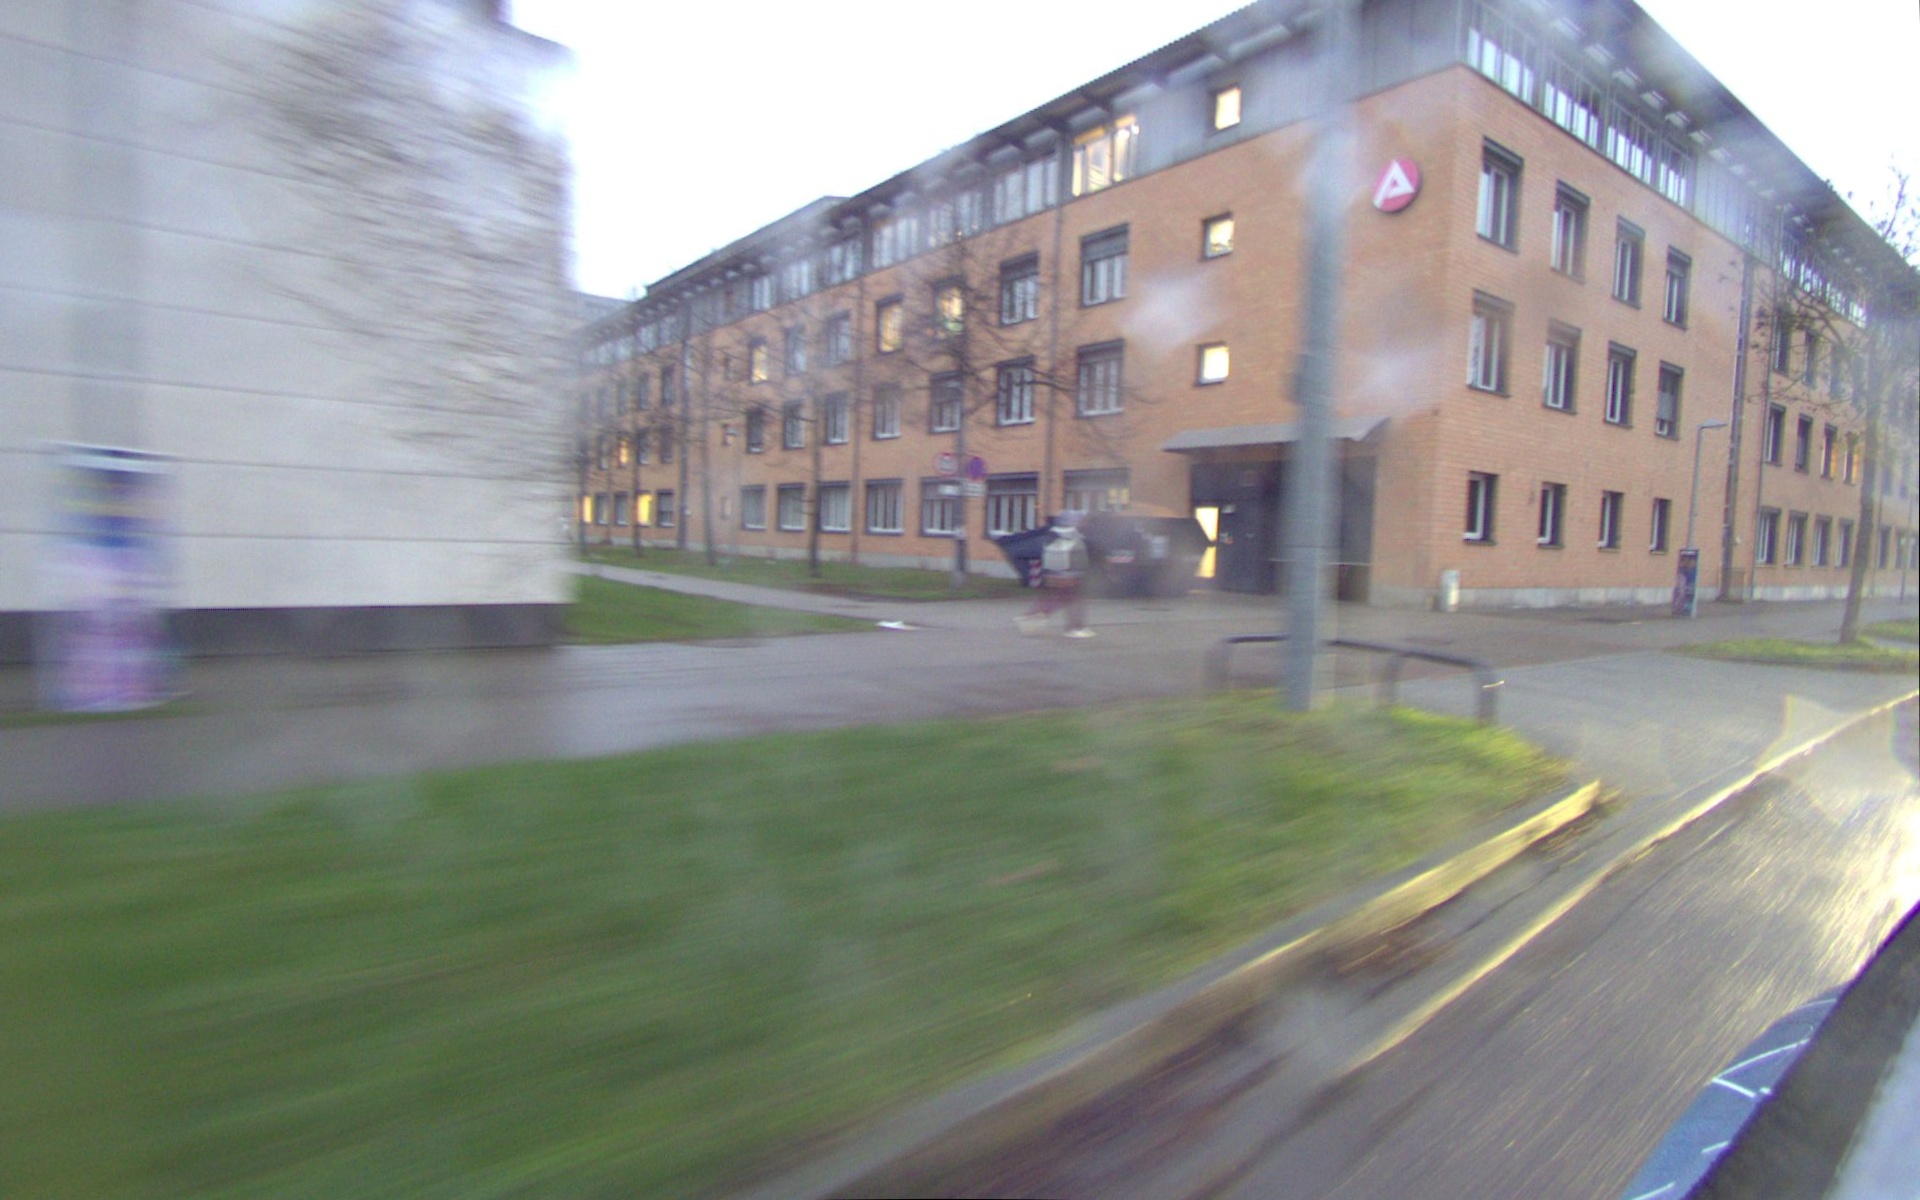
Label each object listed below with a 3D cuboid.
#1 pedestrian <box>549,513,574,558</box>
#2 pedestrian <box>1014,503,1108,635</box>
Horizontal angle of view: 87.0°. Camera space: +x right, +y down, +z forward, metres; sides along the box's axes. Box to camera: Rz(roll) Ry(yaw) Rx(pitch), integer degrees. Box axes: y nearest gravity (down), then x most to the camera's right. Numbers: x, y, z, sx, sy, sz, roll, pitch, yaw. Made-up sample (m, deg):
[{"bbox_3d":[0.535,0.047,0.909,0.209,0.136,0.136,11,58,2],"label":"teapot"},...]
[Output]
[{"bbox_3d":[-15.043,-2.433,38.236,0.719,1.656,0.713,0,4,-35],"label":"pedestrian"},{"bbox_3d":[1.309,-0.407,13.070,1.048,1.630,0.622,-1,4,-41],"label":"pedestrian"}]
